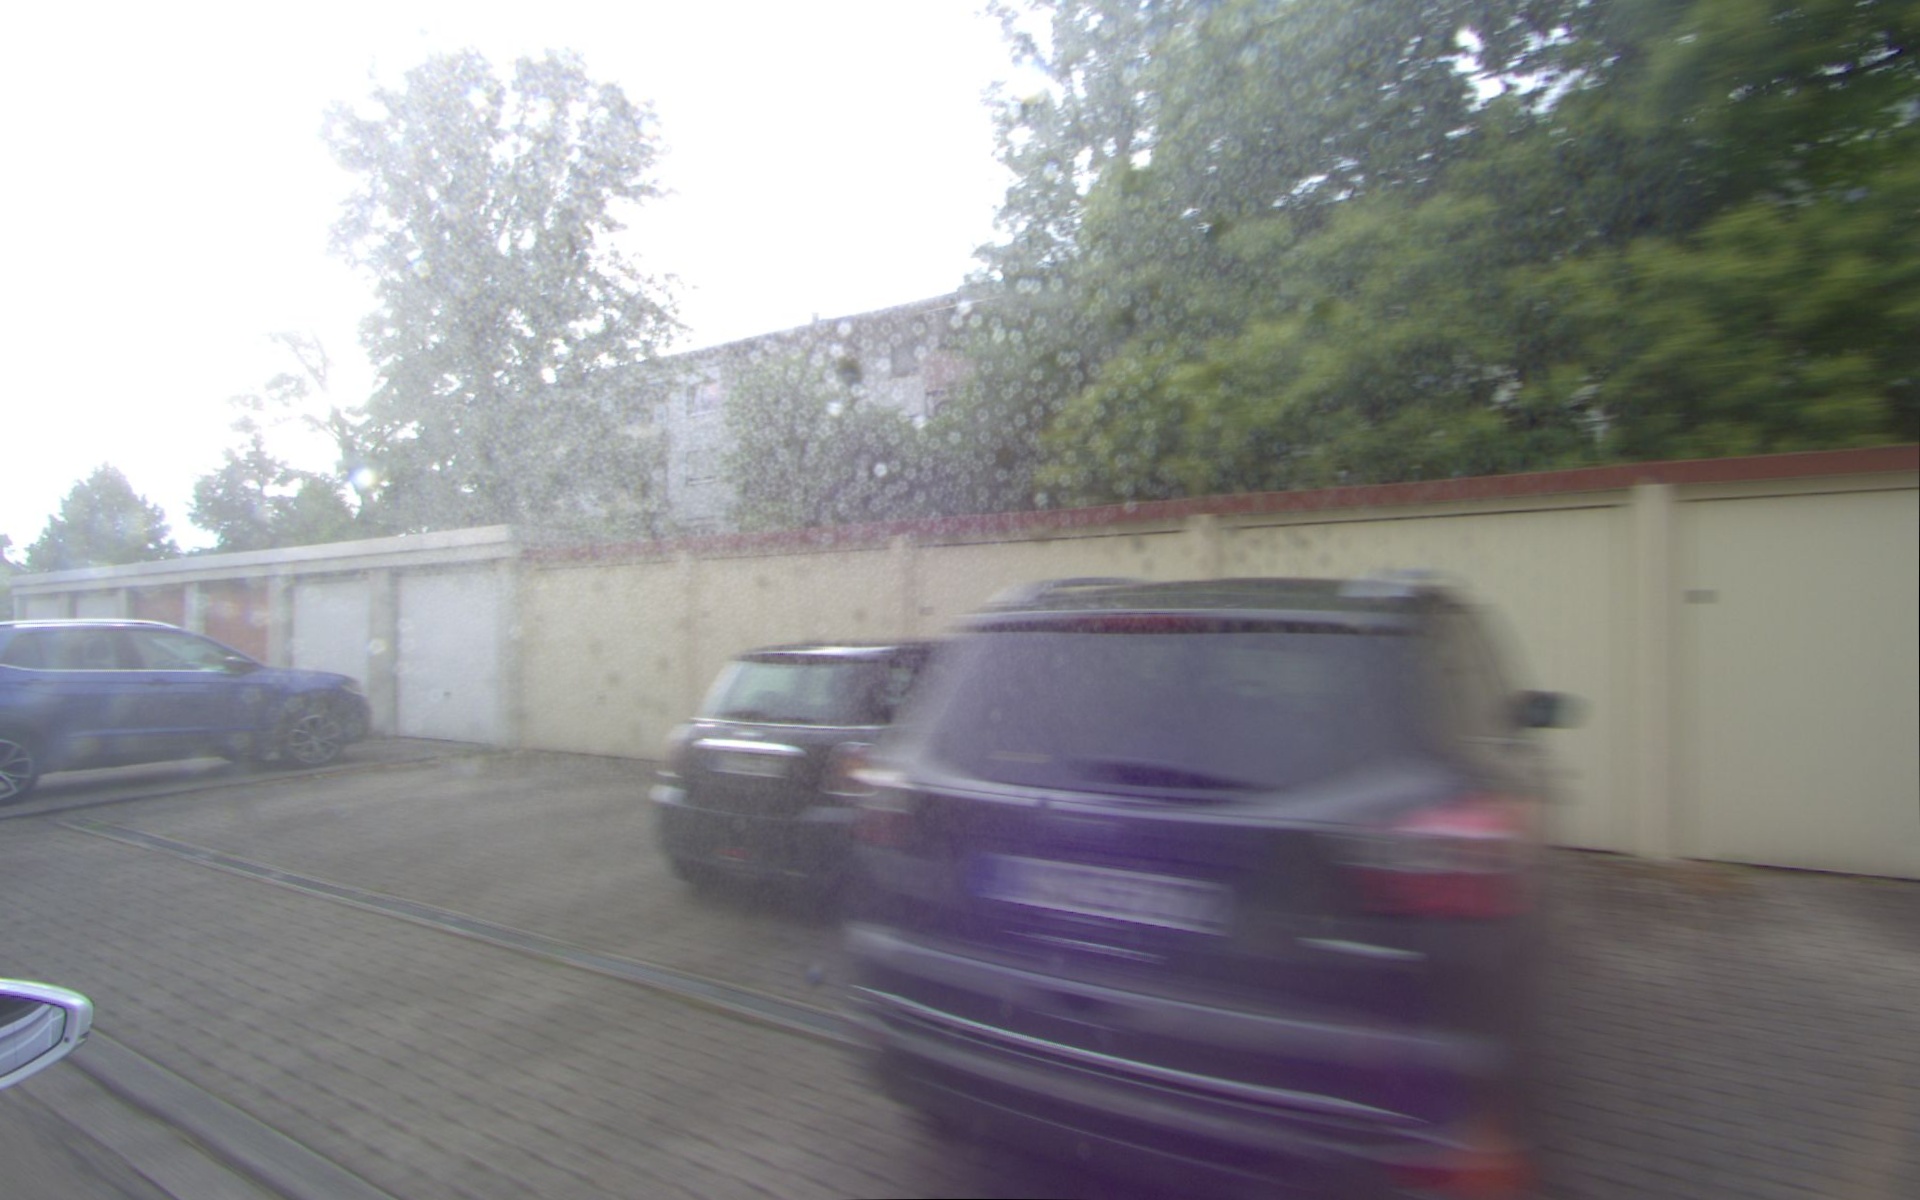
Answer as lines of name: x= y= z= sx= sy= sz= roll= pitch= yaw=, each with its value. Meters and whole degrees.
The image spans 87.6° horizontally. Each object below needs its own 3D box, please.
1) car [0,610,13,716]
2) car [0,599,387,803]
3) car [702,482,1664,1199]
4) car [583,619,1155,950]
car: x=-18.402 y=1.083 z=16.070 sx=1.971 sy=1.825 sz=4.303 roll=-1 pitch=0 yaw=31
car: x=-8.317 y=0.875 z=10.080 sx=1.971 sy=1.725 sz=3.980 roll=-1 pitch=0 yaw=31
car: x=1.277 y=0.725 z=3.783 sx=1.971 sy=1.750 sz=4.188 roll=-1 pitch=0 yaw=31
car: x=-0.296 y=0.883 z=6.682 sx=1.971 sy=1.465 sz=3.750 roll=-1 pitch=0 yaw=31
